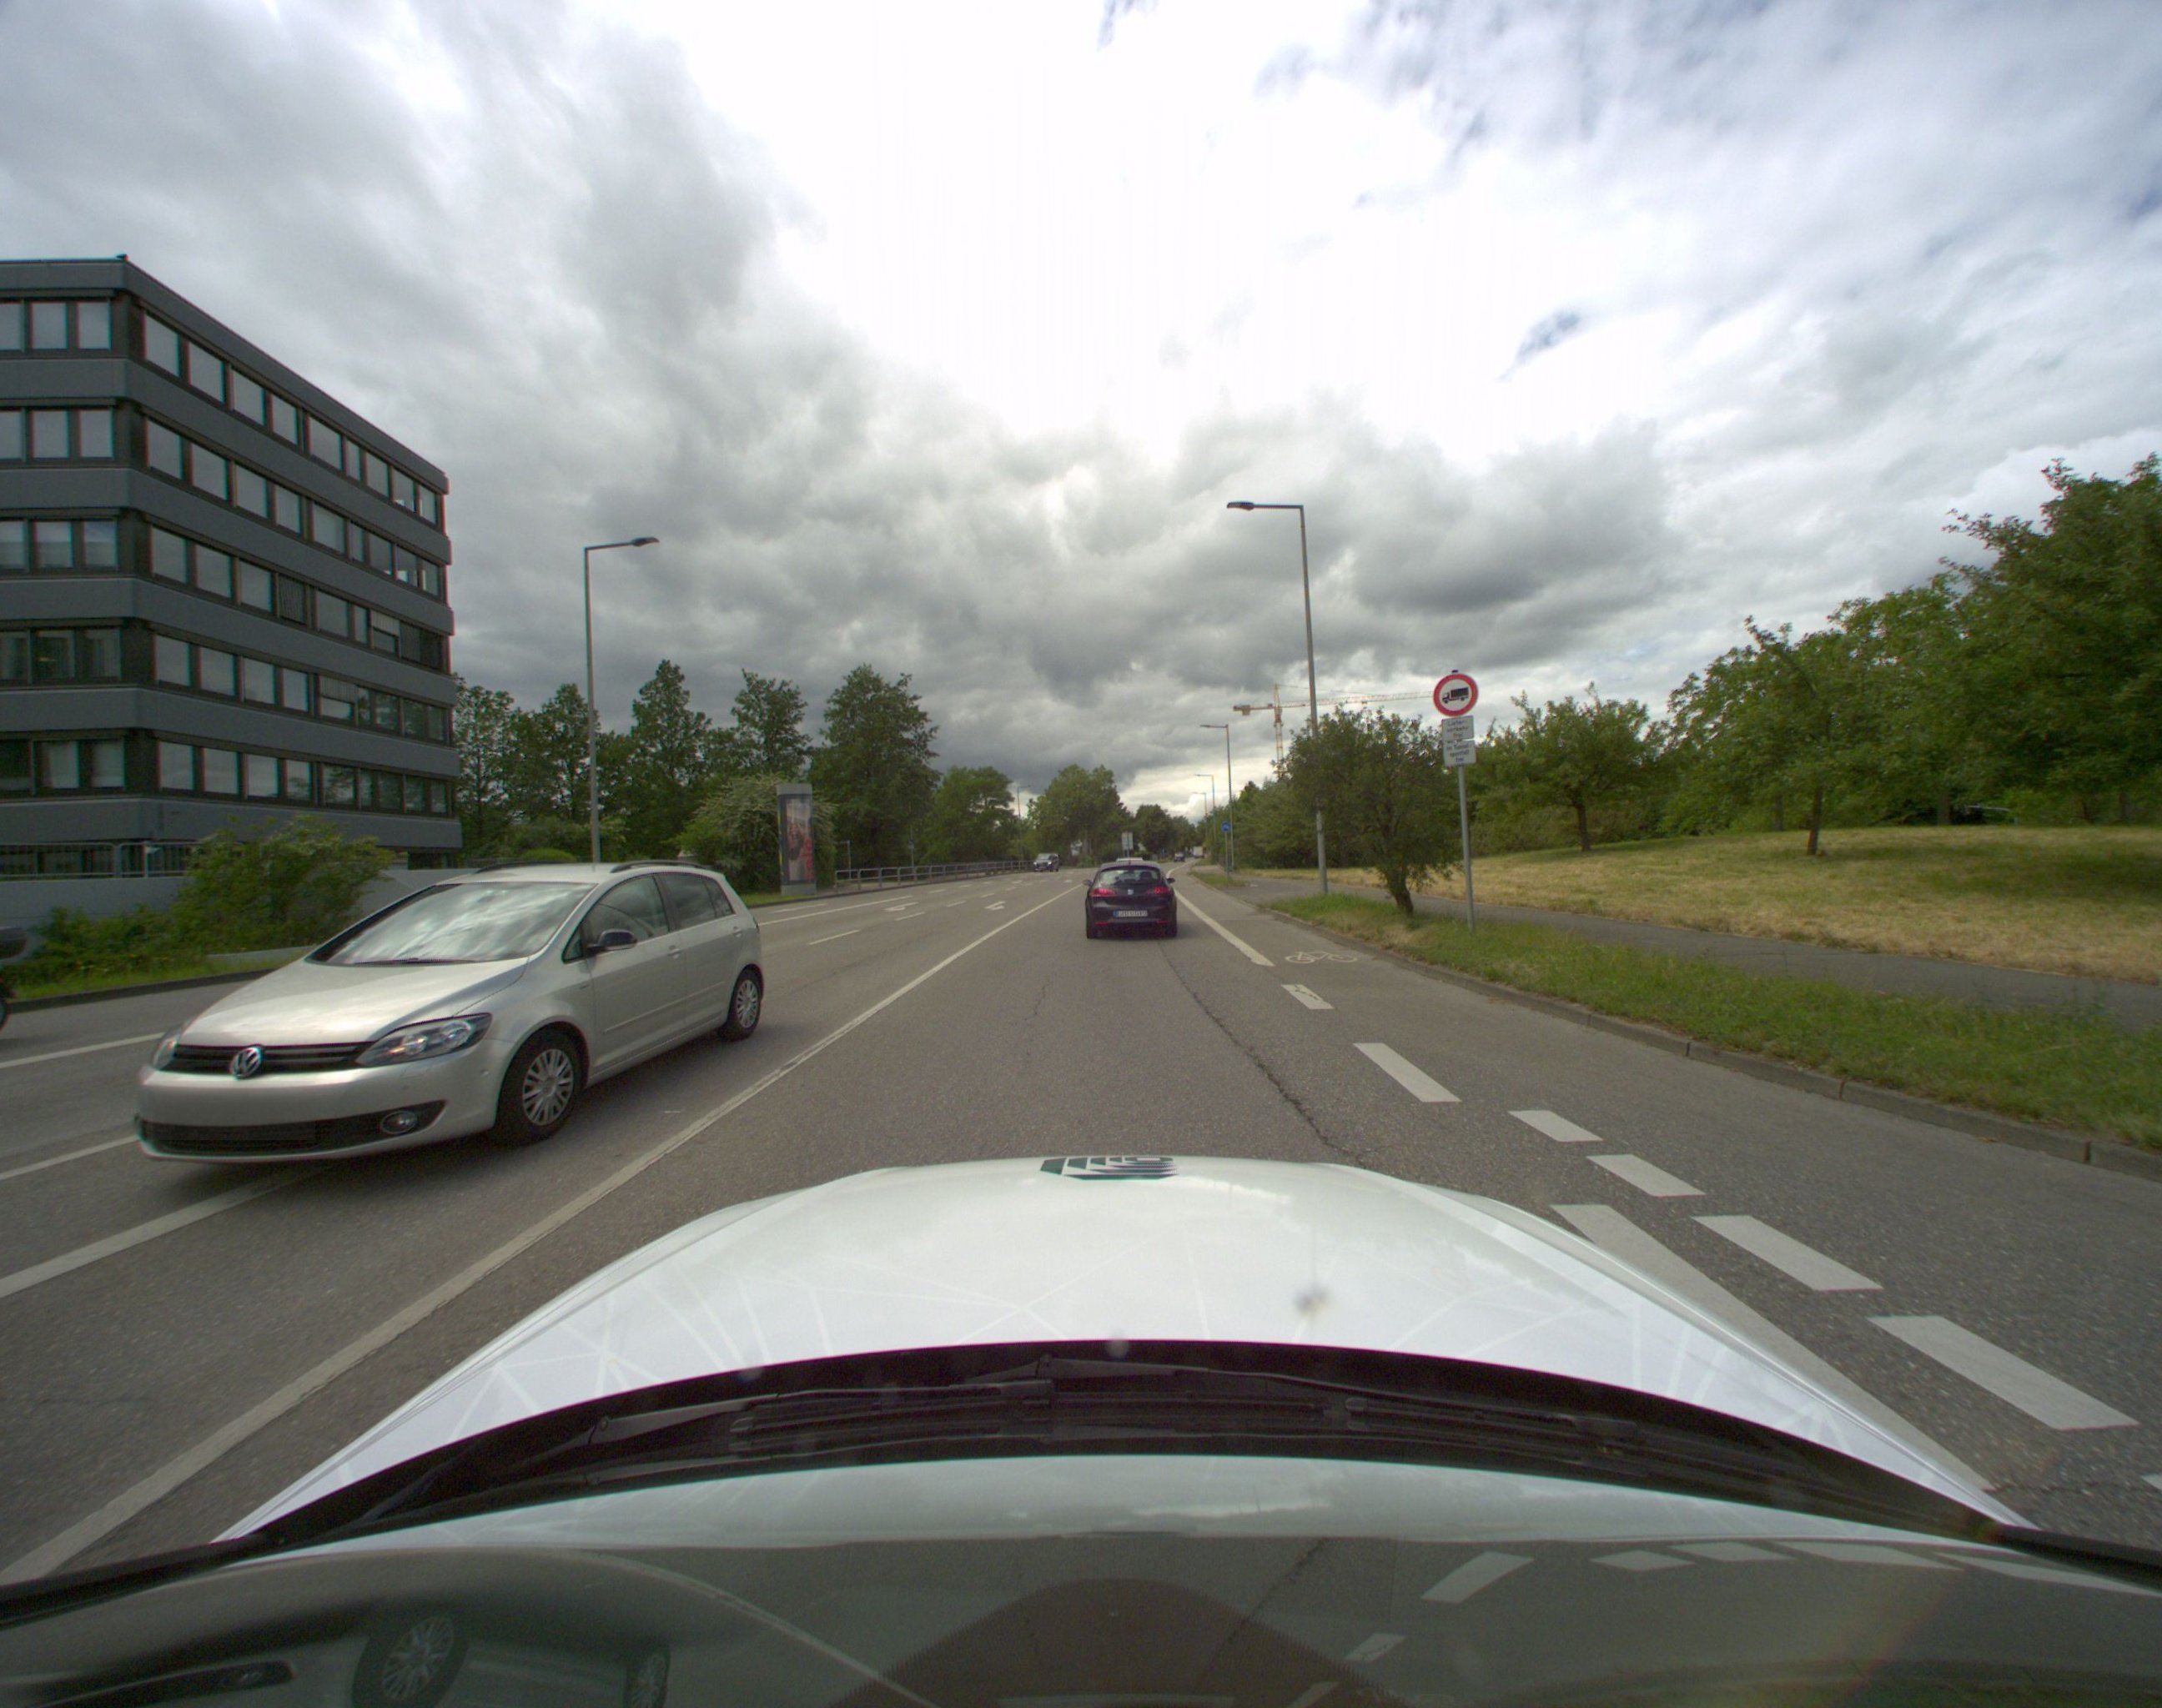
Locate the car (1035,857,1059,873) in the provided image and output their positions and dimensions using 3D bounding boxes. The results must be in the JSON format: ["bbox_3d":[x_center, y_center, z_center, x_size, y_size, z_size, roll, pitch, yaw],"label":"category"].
[{"bbox_3d":[-3.431,1.150,82.441,1.704,1.581,3.752,-1,-1,9],"label":"car"}]

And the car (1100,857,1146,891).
[{"bbox_3d":[1.872,0.907,37.476,1.829,1.467,3.748,-1,-1,-1],"label":"car"}]

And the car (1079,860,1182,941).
[{"bbox_3d":[0.895,0.846,16.396,1.707,1.417,3.456,-1,0,-3],"label":"car"}]

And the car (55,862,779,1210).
[{"bbox_3d":[-3.771,0.844,5.732,1.654,1.518,4.085,-1,0,1],"label":"car"}]

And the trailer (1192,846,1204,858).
[{"bbox_3d":[30.126,-0.549,208.802,2.473,3.073,5.607,-1,-1,14],"label":"trailer"}]

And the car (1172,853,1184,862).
[{"bbox_3d":[17.022,0.564,142.771,1.982,1.566,4.481,-2,0,8],"label":"car"}]
